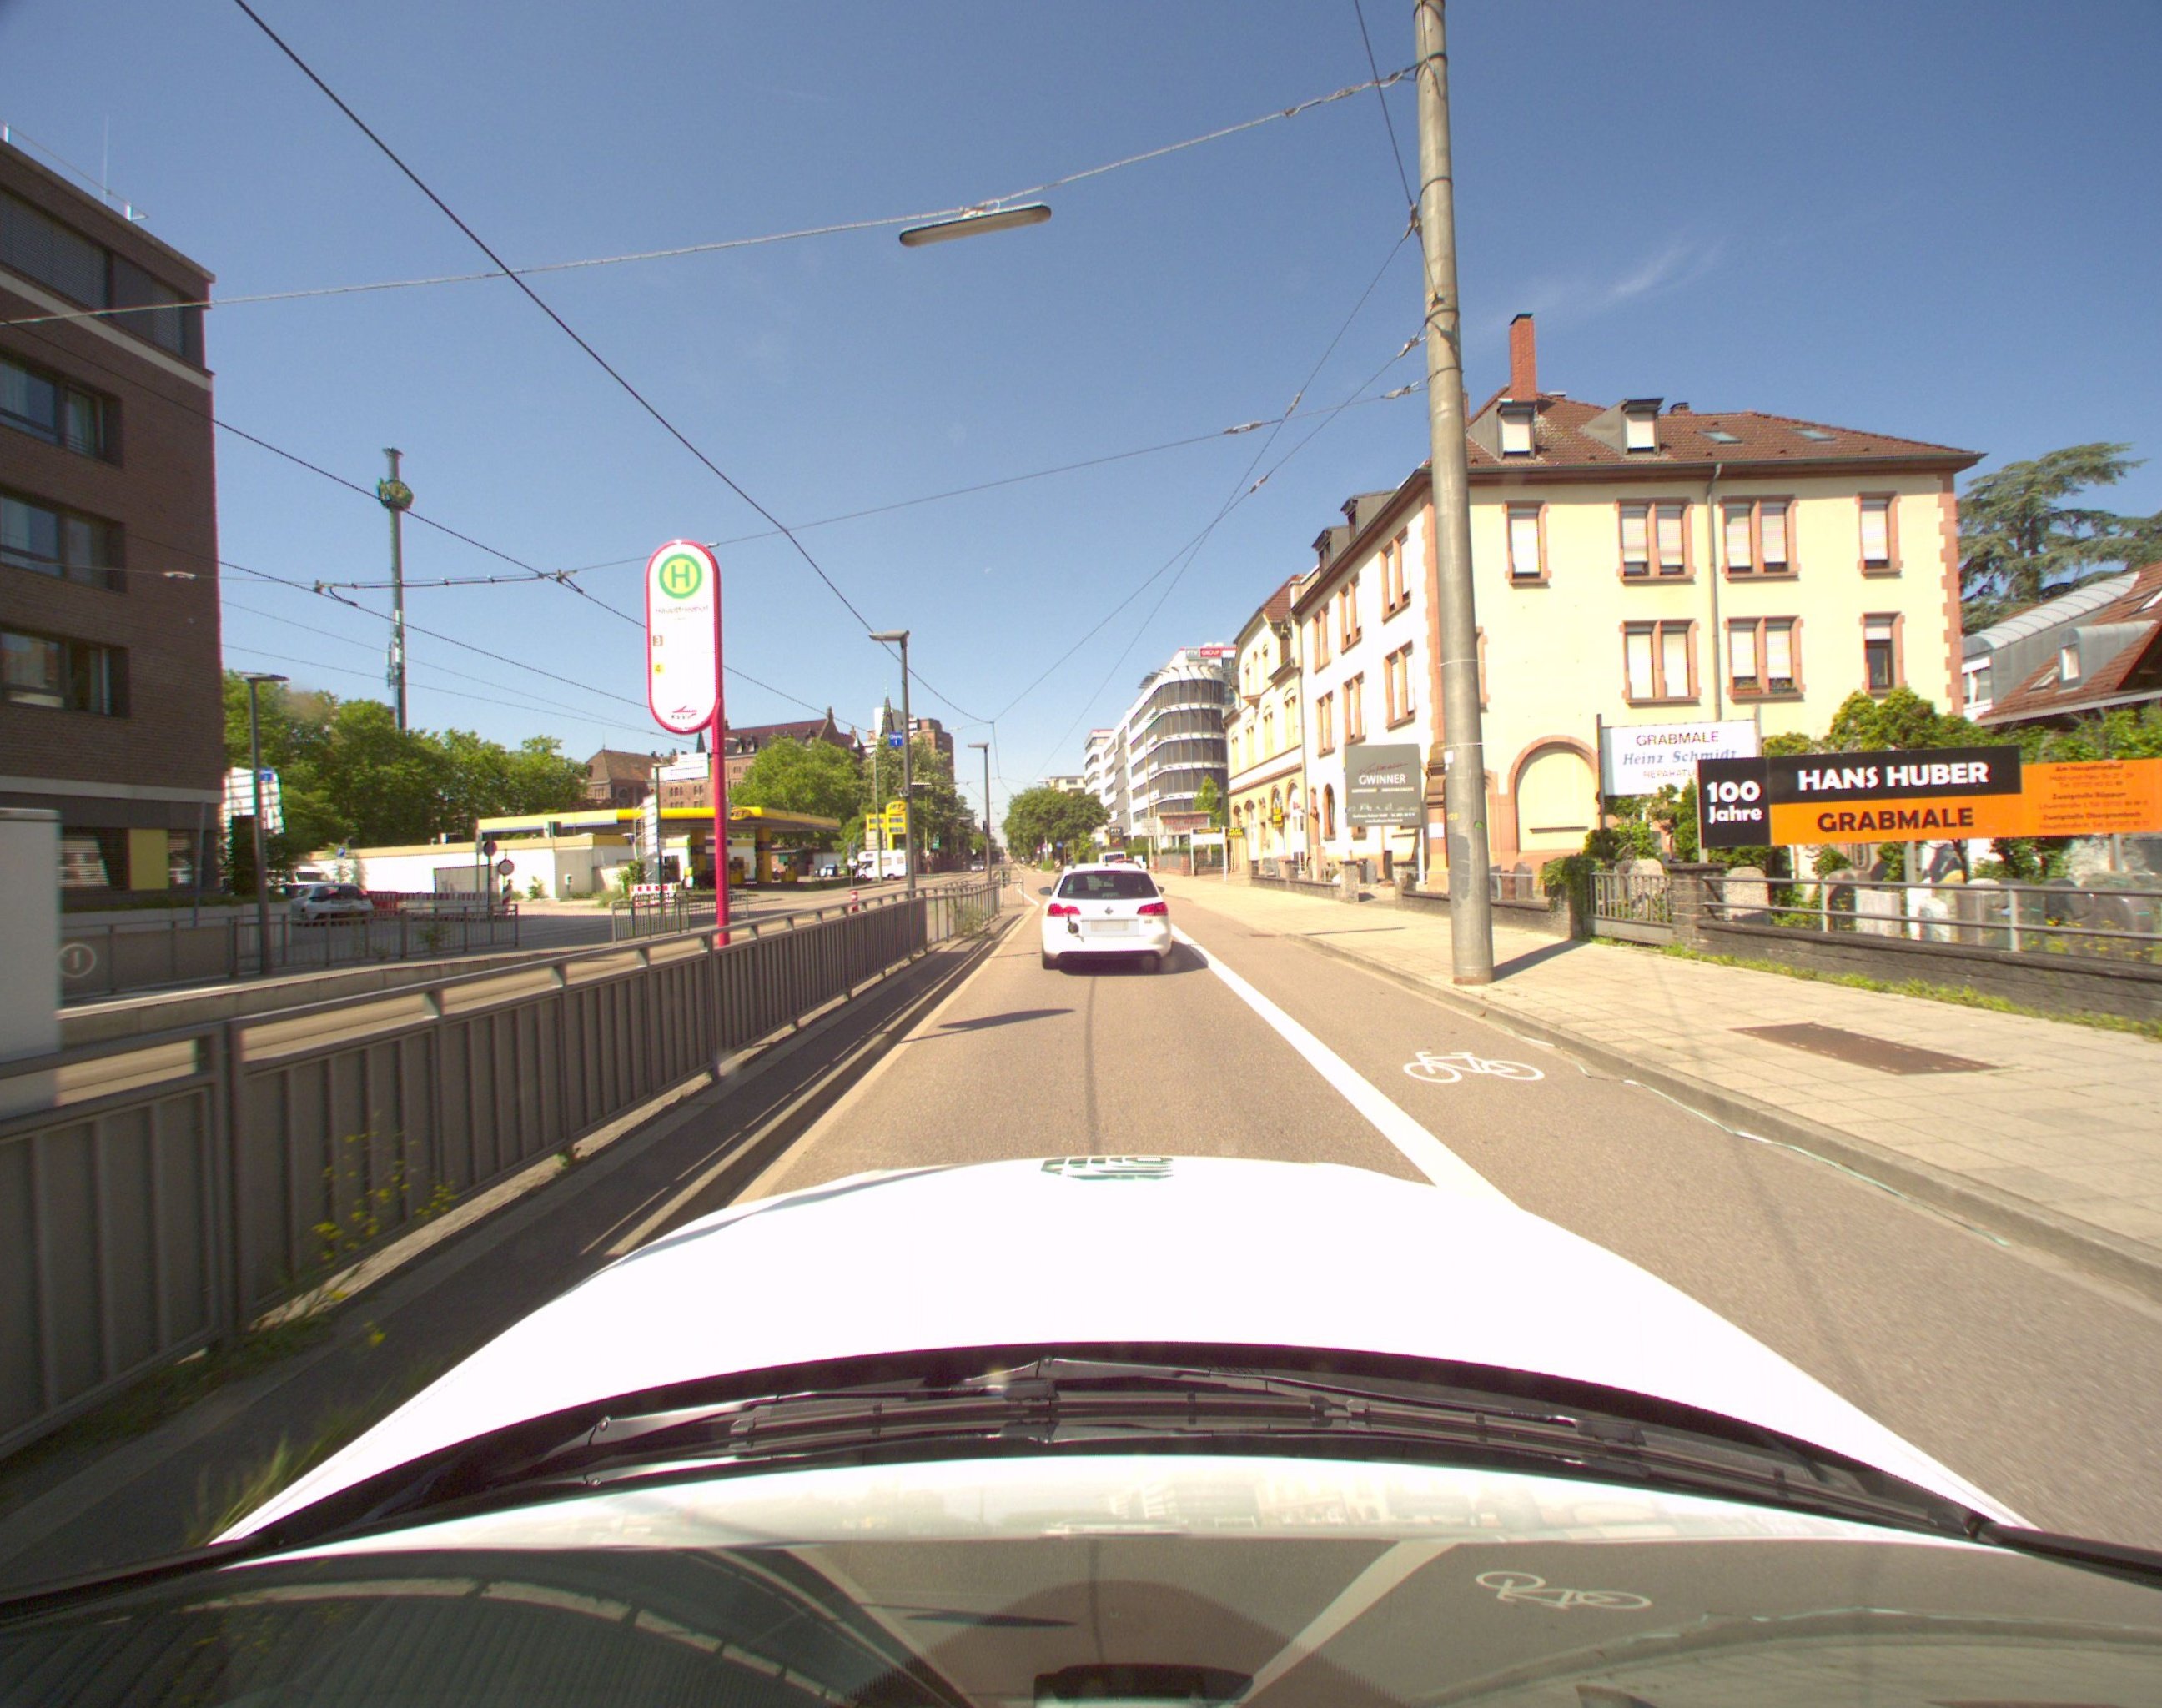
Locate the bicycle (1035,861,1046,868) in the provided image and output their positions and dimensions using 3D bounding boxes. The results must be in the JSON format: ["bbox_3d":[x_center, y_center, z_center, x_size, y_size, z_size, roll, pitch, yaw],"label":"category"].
[{"bbox_3d":[-6.939,1.767,138.438,1.773,1.083,0.595,-3,0,-8],"label":"bicycle"}]

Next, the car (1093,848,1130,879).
[{"bbox_3d":[2.200,0.672,59.856,1.973,2.054,5.182,-4,0,-5],"label":"car"}]

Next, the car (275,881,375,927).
[{"bbox_3d":[-27.257,1.746,29.327,3.948,1.423,1.813,0,0,35],"label":"car"}]

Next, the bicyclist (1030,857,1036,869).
[{"bbox_3d":[-6.215,1.175,105.669,0.784,1.629,0.737,0,-1,-5],"label":"bicyclist"}]

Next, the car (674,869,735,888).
[{"bbox_3d":[-29.428,1.897,63.814,1.682,1.303,4.412,0,0,20],"label":"car"}]

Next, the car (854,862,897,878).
[{"bbox_3d":[-24.156,1.870,95.714,1.924,1.625,4.608,-2,0,39],"label":"car"}]

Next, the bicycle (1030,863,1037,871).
[{"bbox_3d":[-6.161,1.676,105.313,0.809,1.078,2.009,-2,0,-4],"label":"bicycle"}]

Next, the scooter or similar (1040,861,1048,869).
[{"bbox_3d":[-5.662,1.642,125.582,1.139,1.154,0.493,-2,-1,0],"label":"scooter or similar"}]

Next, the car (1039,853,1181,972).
[{"bbox_3d":[0.275,0.724,12.380,1.749,1.442,4.408,-1,0,-3],"label":"car"}]

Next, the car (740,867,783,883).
[{"bbox_3d":[-34.676,2.266,88.399,4.122,1.527,1.947,-2,-1,20],"label":"car"}]

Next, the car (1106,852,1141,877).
[{"bbox_3d":[2.735,0.702,53.630,1.719,1.443,4.305,-4,0,-4],"label":"car"}]

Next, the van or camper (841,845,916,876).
[{"bbox_3d":[-19.956,0.657,80.395,6.663,2.967,2.619,1,-1,3],"label":"van or camper"}]

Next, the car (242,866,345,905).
[{"bbox_3d":[-51.075,2.027,52.839,5.597,2.327,2.339,-2,-1,17],"label":"car"}]

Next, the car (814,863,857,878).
[{"bbox_3d":[-29.395,1.932,97.603,1.924,1.583,4.607,-2,0,40],"label":"car"}]

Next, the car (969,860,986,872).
[{"bbox_3d":[-14.558,1.753,114.878,1.740,1.571,3.891,-3,-1,0],"label":"car"}]
